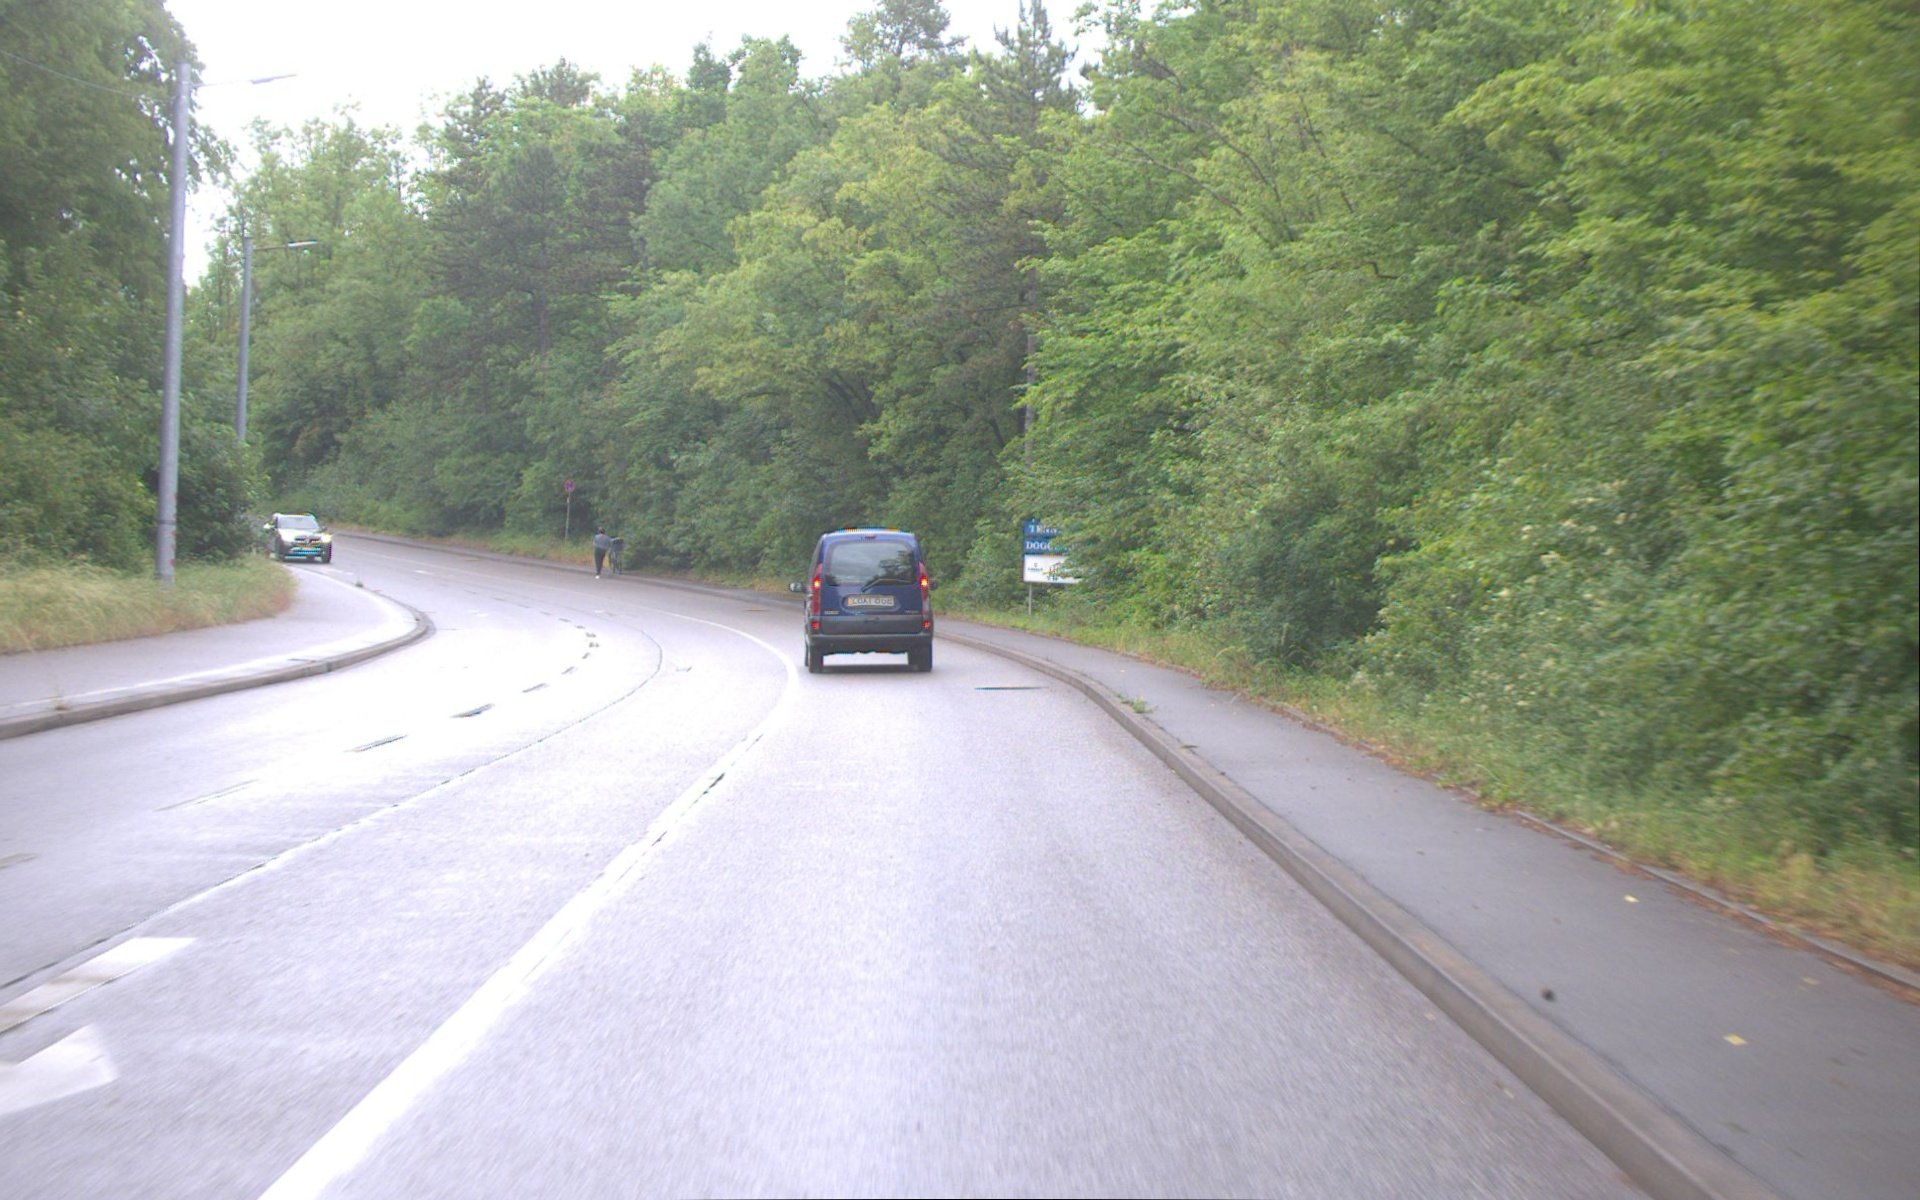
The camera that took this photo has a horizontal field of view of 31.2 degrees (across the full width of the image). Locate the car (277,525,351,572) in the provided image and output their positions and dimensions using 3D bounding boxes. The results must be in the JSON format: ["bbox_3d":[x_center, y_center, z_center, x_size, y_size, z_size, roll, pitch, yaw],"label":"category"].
[{"bbox_3d":[-23.103,-1.845,122.810,1.808,1.589,4.519,1,1,-20],"label":"car"}]

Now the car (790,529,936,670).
[{"bbox_3d":[-1.333,-0.053,45.771,1.827,1.787,4.001,0,1,-3],"label":"car"}]
